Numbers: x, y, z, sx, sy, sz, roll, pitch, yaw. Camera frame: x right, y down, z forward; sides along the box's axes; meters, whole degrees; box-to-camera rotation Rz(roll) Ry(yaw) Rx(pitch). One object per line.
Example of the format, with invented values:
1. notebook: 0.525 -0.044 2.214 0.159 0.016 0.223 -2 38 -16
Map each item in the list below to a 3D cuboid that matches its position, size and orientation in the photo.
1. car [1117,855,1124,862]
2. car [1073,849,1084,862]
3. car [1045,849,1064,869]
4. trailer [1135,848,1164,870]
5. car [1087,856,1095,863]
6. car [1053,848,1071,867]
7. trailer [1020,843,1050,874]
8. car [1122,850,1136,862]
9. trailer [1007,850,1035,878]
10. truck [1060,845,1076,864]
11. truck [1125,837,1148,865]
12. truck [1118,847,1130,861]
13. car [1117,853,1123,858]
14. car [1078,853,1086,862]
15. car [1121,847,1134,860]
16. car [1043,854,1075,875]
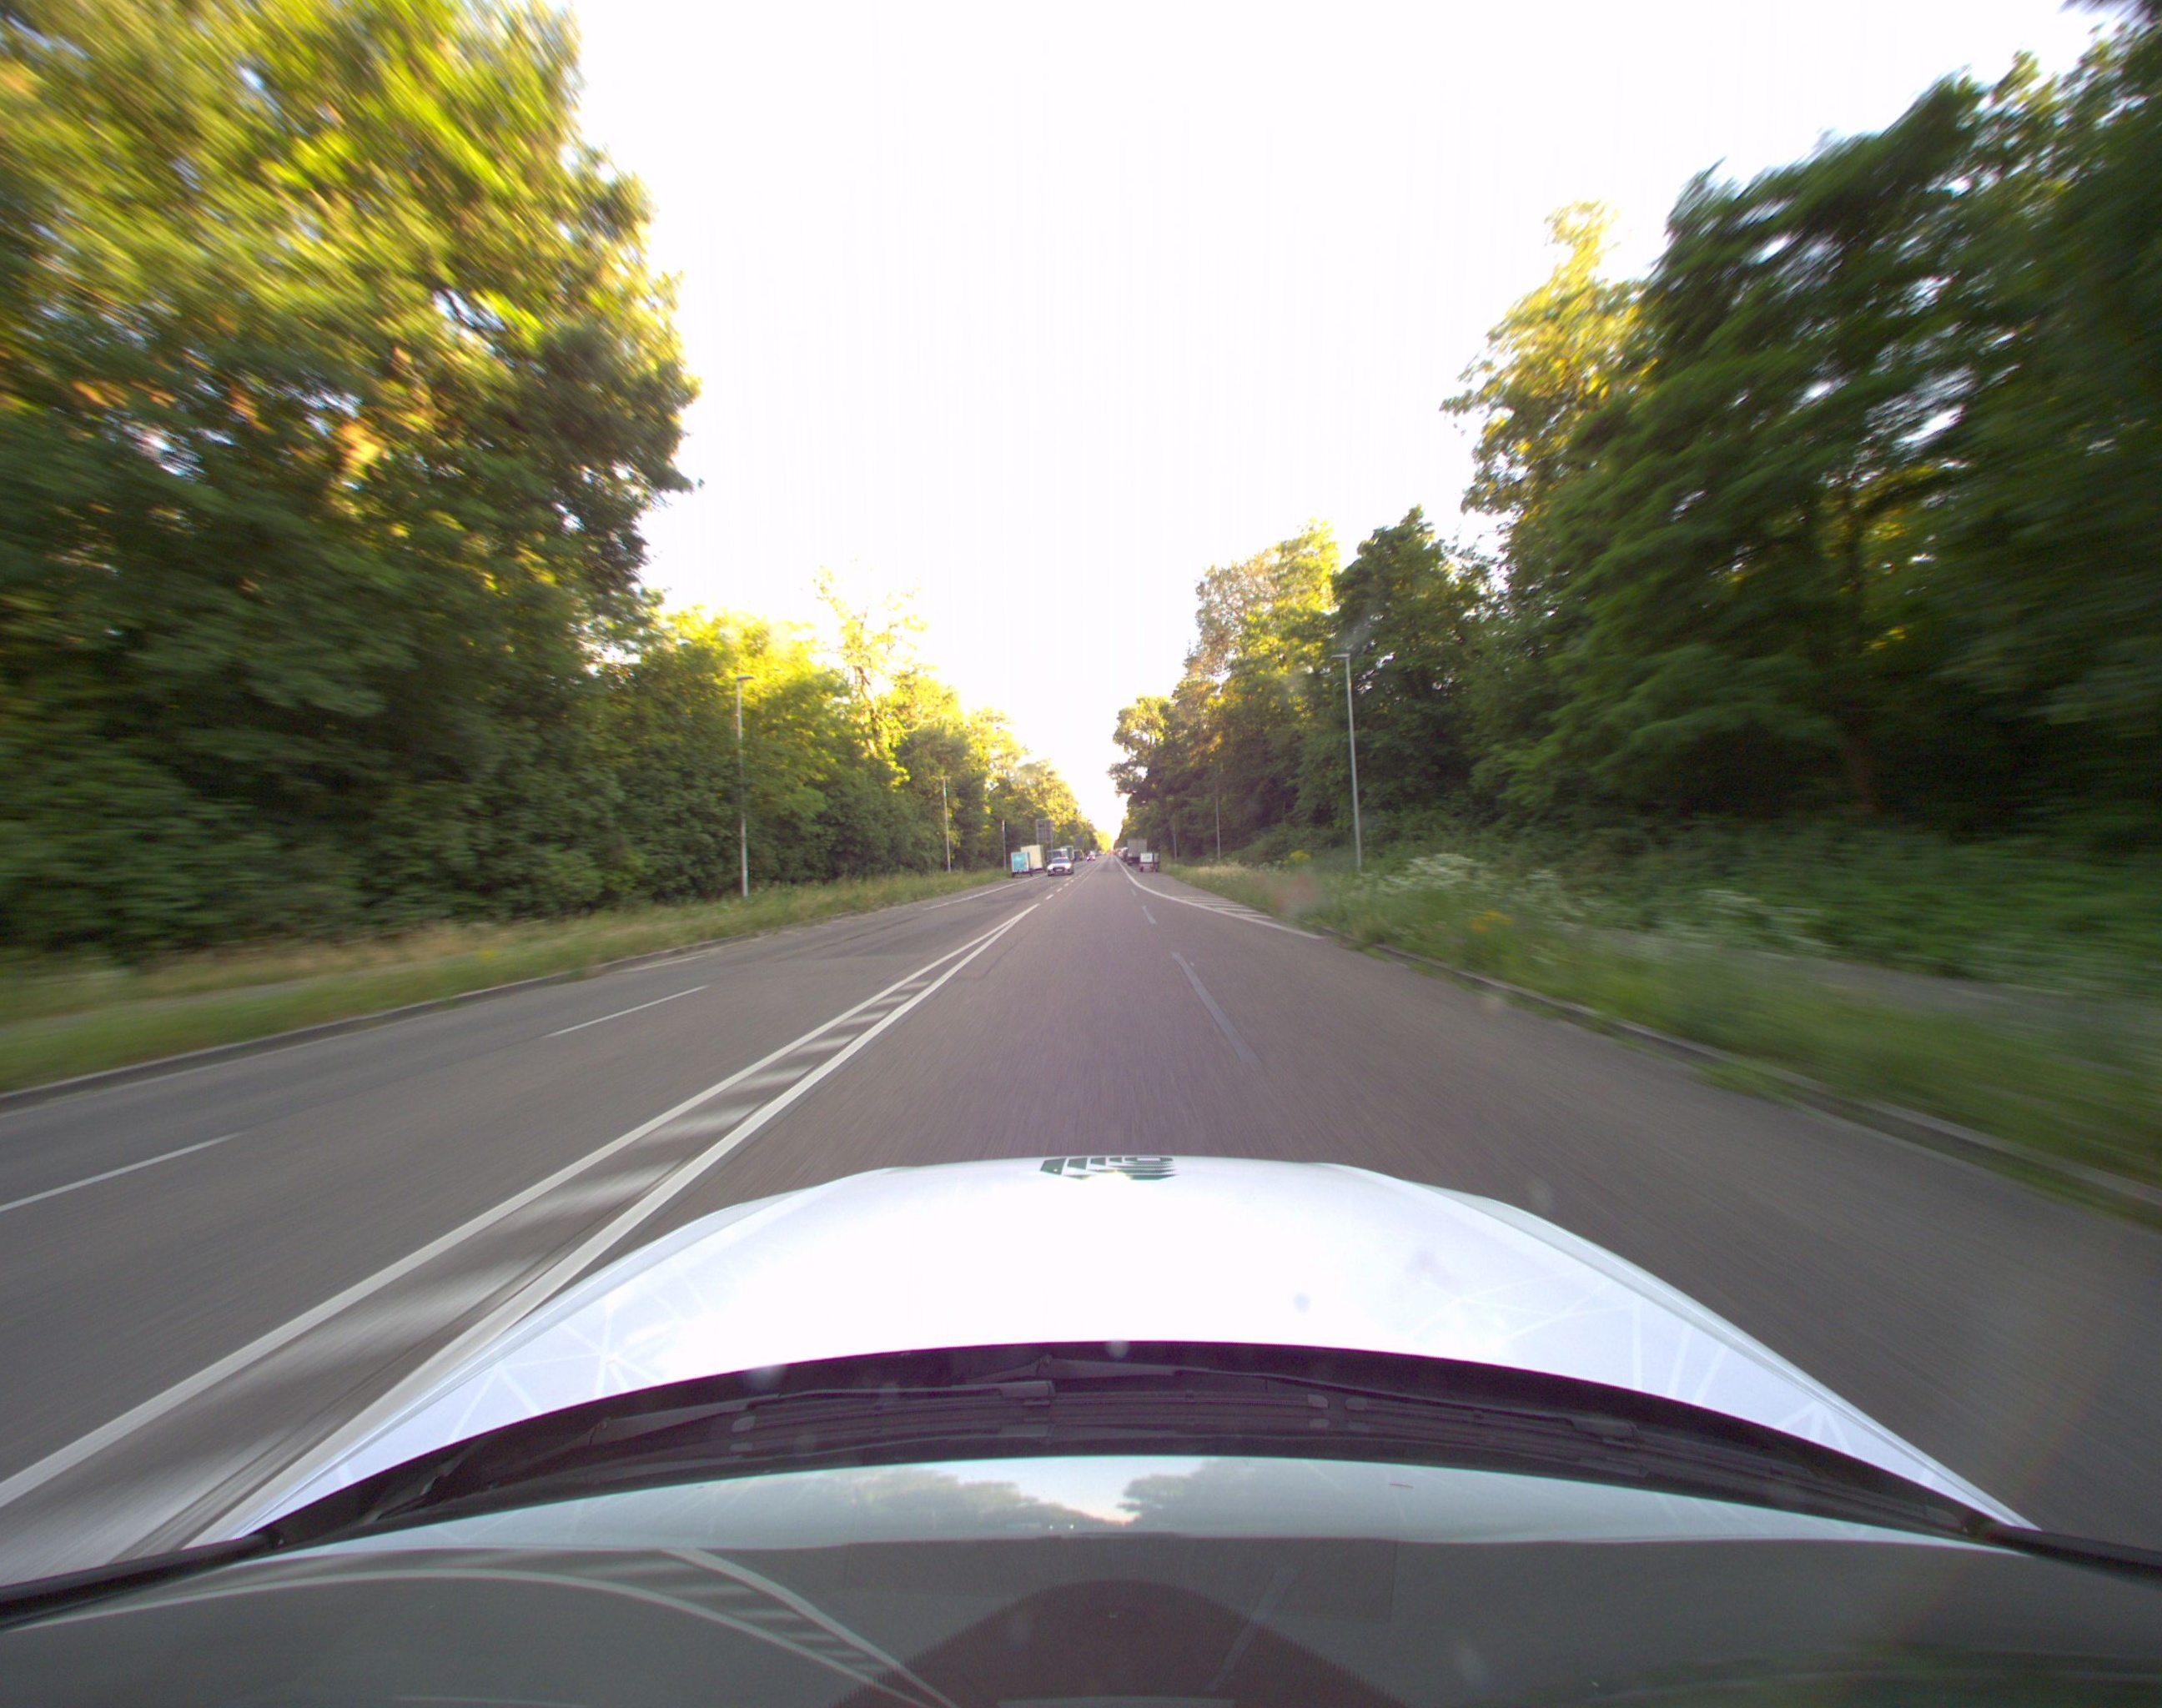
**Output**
1. car: 8.435 0.948 172.989 1.143 1.251 2.753 -8 1 0
2. car: -0.593 0.295 187.066 2.178 2.788 5.336 -4 0 2
3. car: -3.469 0.662 109.239 1.986 2.364 5.768 -5 0 2
4. trailer: 5.691 0.431 67.692 1.444 1.662 3.795 -3 0 18
5. car: 2.112 1.168 176.915 1.677 1.486 4.037 -3 0 0
6. car: -2.931 0.527 126.856 2.241 2.647 5.724 -4 0 2
7. trailer: -4.698 0.455 84.008 2.317 2.924 5.628 -5 0 1
8. car: 7.885 0.353 134.230 1.987 1.955 4.299 -1 0 0
9. trailer: -5.023 0.796 68.392 1.811 2.167 4.143 -3 0 1
10. truck: -2.385 0.064 152.439 2.495 3.328 6.844 -4 0 2
11. truck: 6.817 -0.325 100.327 2.578 3.255 7.227 -1 0 3
12. truck: 8.799 0.004 166.359 2.135 2.659 4.299 -1 0 0
13. car: 11.162 0.444 231.916 1.422 1.222 3.413 -3 0 2
14. car: 0.289 0.857 208.627 1.693 2.013 4.002 -6 0 2
15. car: 8.772 -0.030 153.489 2.135 2.313 4.299 -1 0 0
16. car: -1.769 0.830 67.413 2.054 1.435 4.471 -5 0 4
